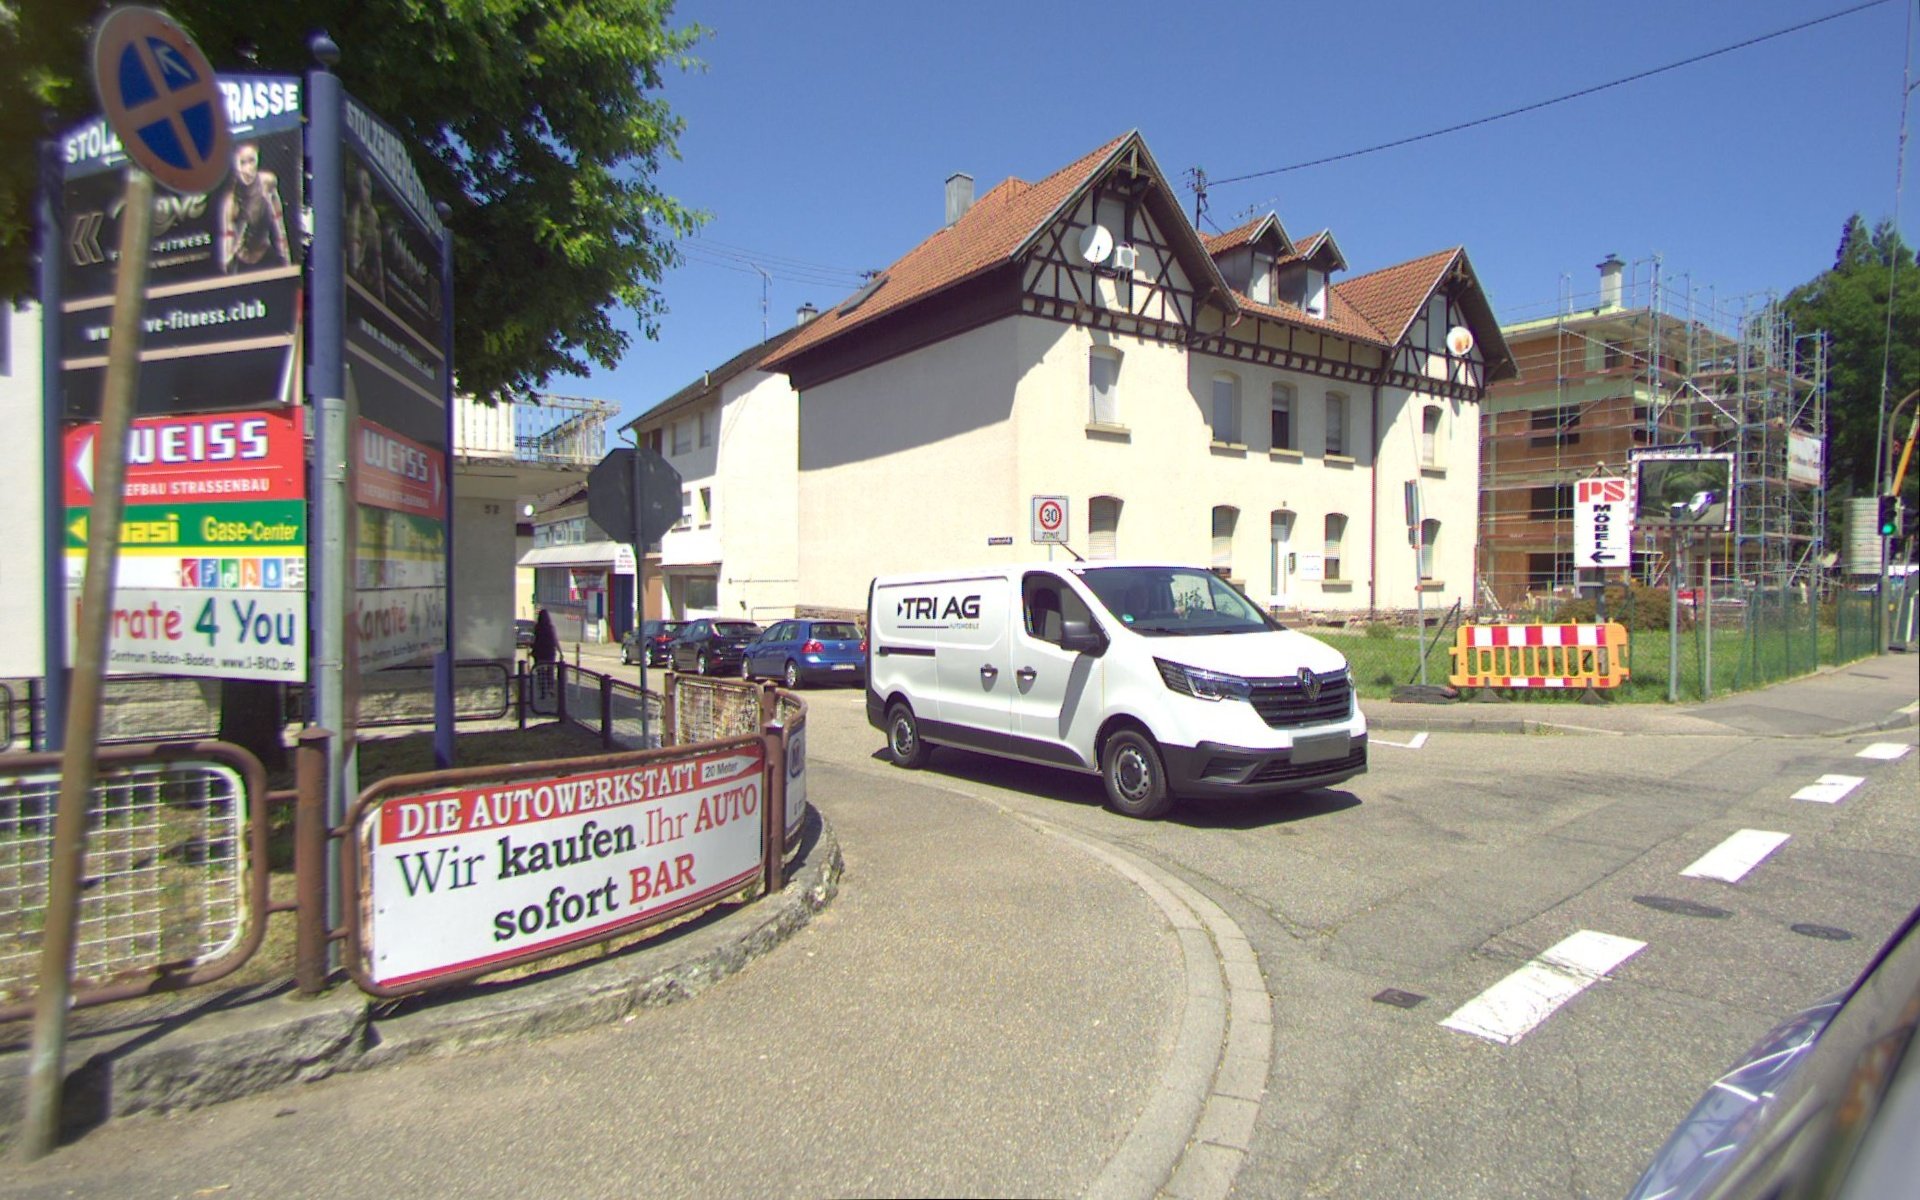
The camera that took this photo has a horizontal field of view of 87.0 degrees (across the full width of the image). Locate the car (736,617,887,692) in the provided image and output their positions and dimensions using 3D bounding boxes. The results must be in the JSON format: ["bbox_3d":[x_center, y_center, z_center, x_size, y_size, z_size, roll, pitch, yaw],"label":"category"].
[{"bbox_3d":[-3.332,1.104,22.114,1.781,1.462,3.896,0,-1,-34],"label":"car"}]

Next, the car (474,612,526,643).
[{"bbox_3d":[-24.084,1.410,52.929,1.794,1.565,3.398,0,-1,-37],"label":"car"}]

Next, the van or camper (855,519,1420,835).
[{"bbox_3d":[1.121,0.491,9.228,1.961,2.003,5.365,-2,0,-31],"label":"van or camper"}]

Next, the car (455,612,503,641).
[{"bbox_3d":[-26.805,1.443,56.348,1.794,1.565,3.398,0,-1,-37],"label":"car"}]

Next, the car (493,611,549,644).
[{"bbox_3d":[-21.469,1.324,49.433,1.794,1.565,3.398,0,-1,-37],"label":"car"}]

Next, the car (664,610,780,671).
[{"bbox_3d":[-6.279,0.997,26.417,1.781,1.462,3.629,0,-1,-34],"label":"car"}]

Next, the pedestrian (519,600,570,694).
[{"bbox_3d":[-7.455,0.840,18.170,0.563,1.620,0.696,4,-1,-42],"label":"pedestrian"}]

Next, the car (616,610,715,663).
[{"bbox_3d":[-8.962,1.060,30.563,1.781,1.462,3.896,0,-1,-34],"label":"car"}]
